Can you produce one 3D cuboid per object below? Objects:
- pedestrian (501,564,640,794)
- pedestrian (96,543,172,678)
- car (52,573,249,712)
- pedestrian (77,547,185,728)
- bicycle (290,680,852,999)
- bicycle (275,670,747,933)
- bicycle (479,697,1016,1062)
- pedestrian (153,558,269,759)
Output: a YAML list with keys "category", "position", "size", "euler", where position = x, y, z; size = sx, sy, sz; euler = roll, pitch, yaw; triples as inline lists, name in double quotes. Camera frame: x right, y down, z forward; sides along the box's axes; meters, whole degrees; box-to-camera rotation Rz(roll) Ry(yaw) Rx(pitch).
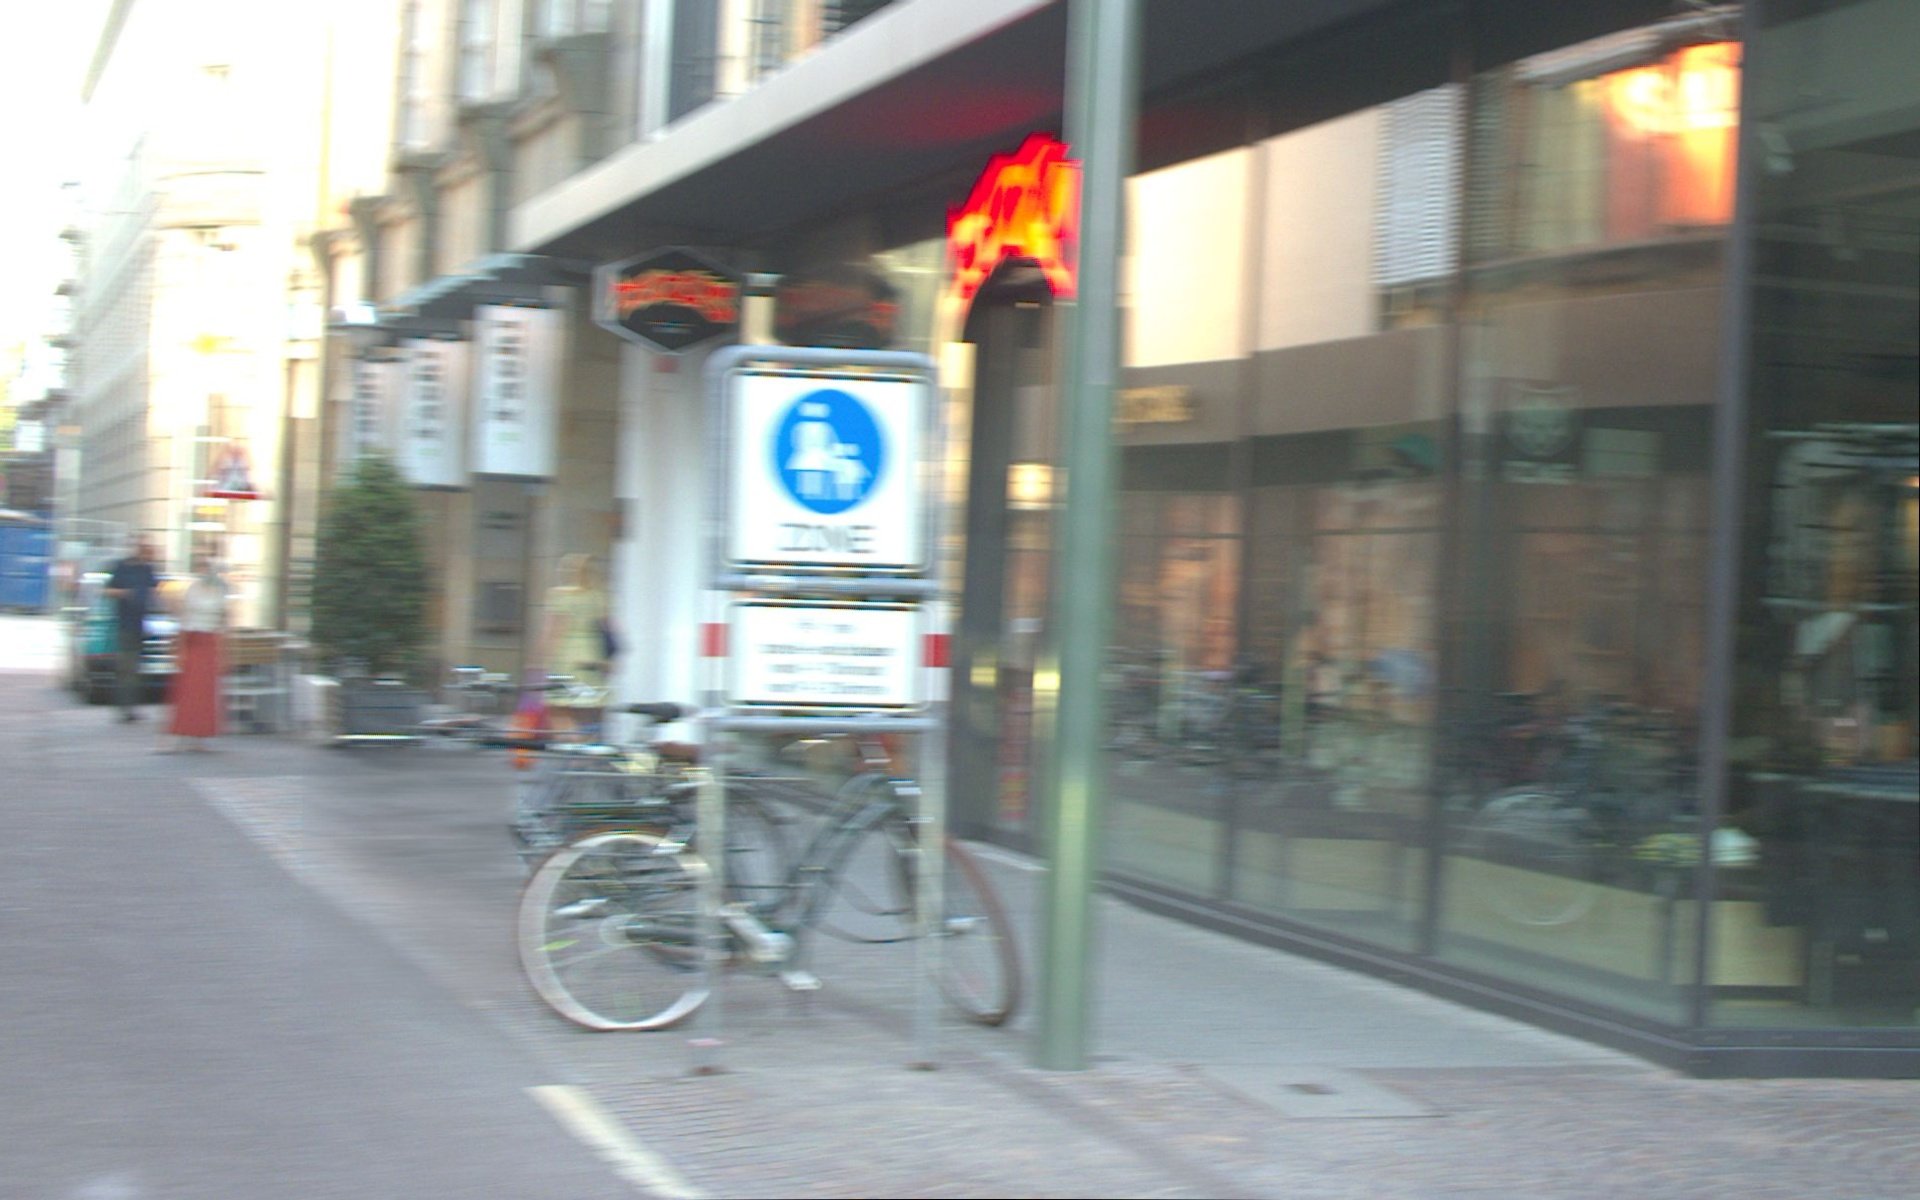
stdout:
- category: "pedestrian"
  position: [-2.738, 0.545, 24.107]
  size: [0.797, 1.560, 0.859]
  euler: [2, 0, -14]
- category: "pedestrian"
  position: [-11.615, 0.146, 48.335]
  size: [0.904, 1.853, 0.836]
  euler: [2, 0, -18]
- category: "car"
  position: [-9.216, 0.452, 38.939]
  size: [1.753, 1.436, 3.929]
  euler: [2, 0, -19]
- category: "pedestrian"
  position: [-7.805, 0.345, 32.346]
  size: [0.899, 1.655, 0.930]
  euler: [2, 0, -15]
- category: "bicycle"
  position: [-1.436, 0.865, 12.734]
  size: [2.009, 1.117, 0.467]
  euler: [0, 1, -17]
- category: "bicycle"
  position: [-2.003, 0.881, 15.363]
  size: [2.033, 1.117, 0.467]
  euler: [0, 1, -17]
- category: "bicycle"
  position: [-0.701, 0.897, 11.346]
  size: [1.696, 1.132, 0.467]
  euler: [0, 1, -17]
- category: "pedestrian"
  position: [-6.011, 0.459, 27.575]
  size: [0.797, 1.560, 0.859]
  euler: [2, 0, -16]
